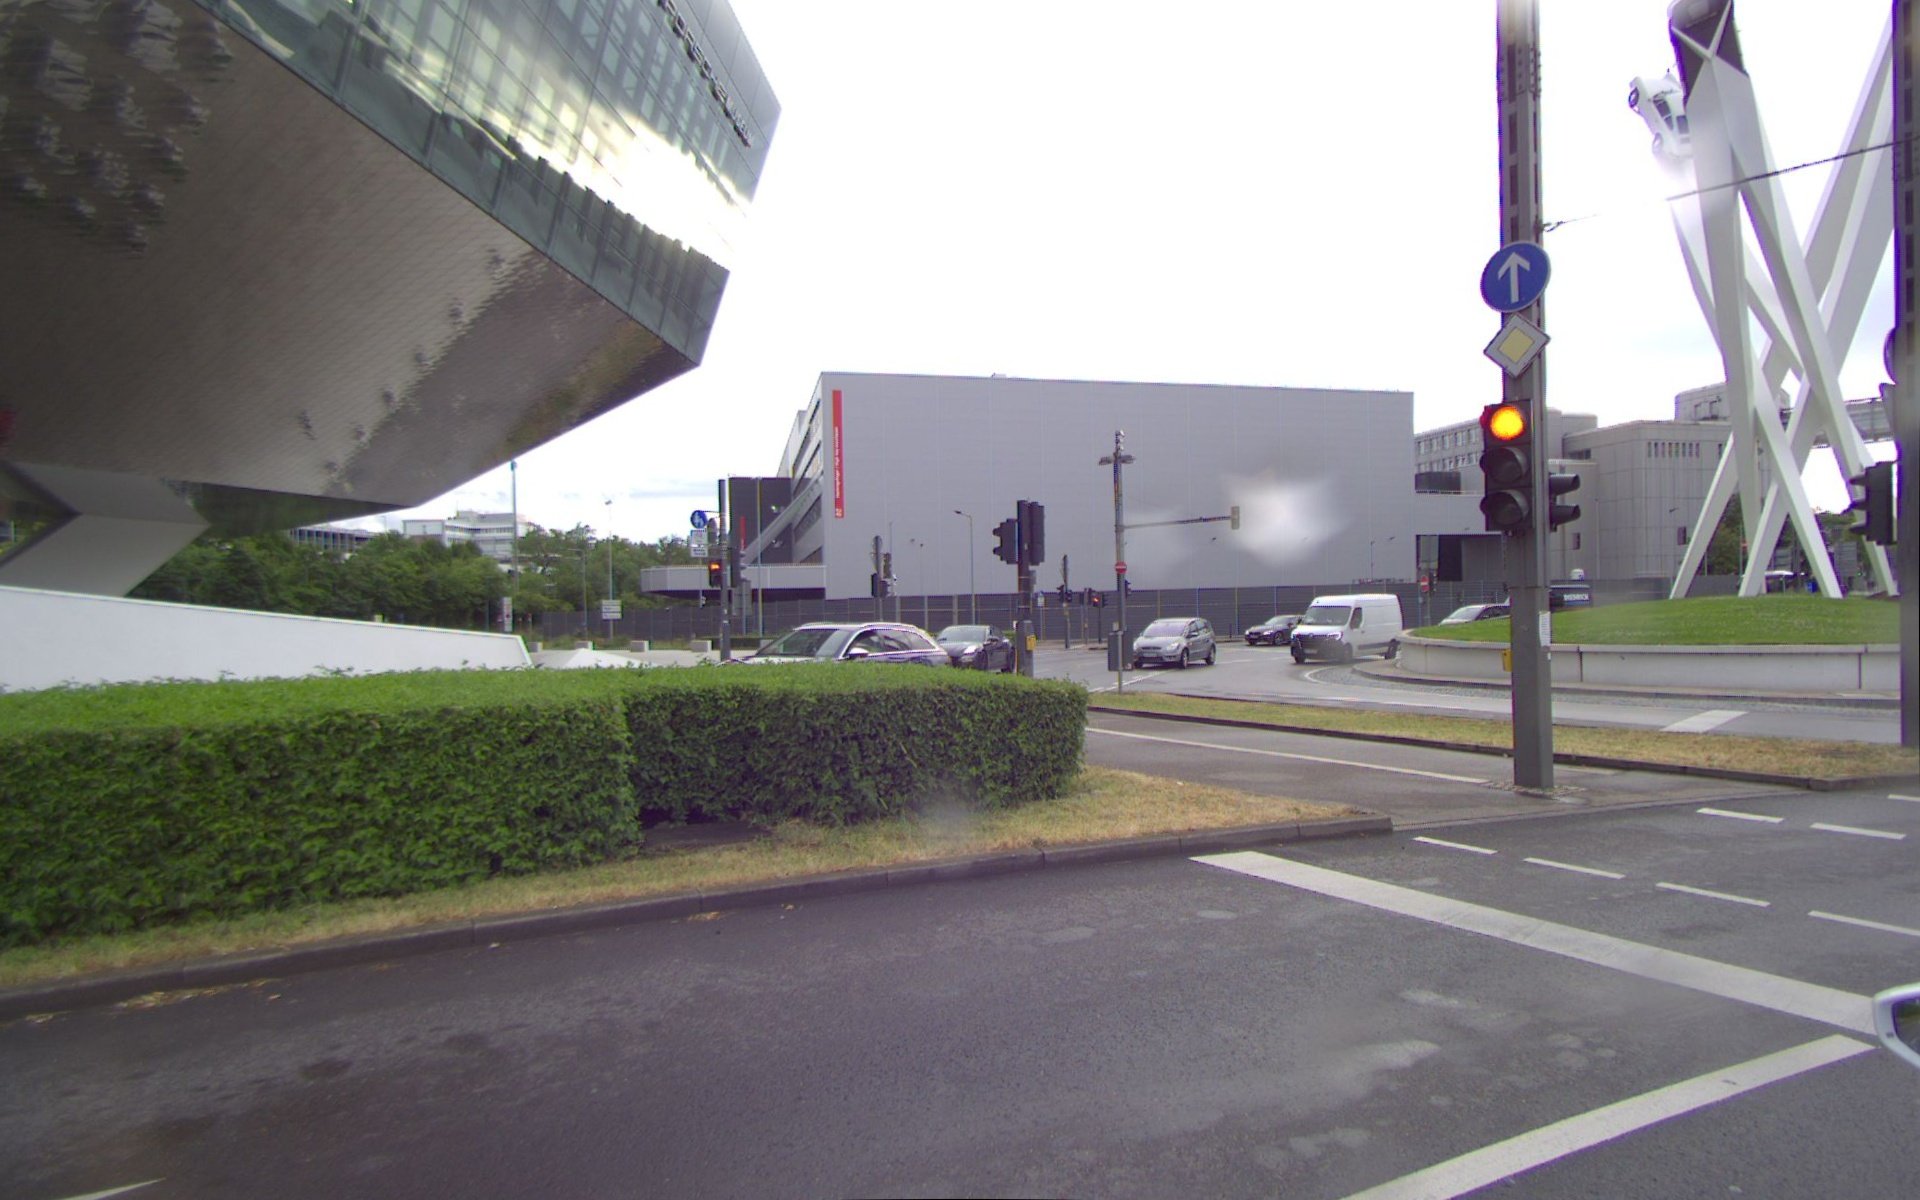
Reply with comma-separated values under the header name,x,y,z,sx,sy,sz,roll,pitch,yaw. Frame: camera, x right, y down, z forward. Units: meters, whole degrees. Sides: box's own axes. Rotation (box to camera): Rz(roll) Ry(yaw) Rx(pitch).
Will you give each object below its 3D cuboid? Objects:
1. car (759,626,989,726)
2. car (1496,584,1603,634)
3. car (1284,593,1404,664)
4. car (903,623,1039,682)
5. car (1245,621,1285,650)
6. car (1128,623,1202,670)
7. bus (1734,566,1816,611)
name,x,y,z,sx,sy,sz,roll,pitch,yaw
car,-1.239,1.114,16.237,1.818,1.356,3.994,0,-1,28
car,34.804,0.549,59.242,7.035,2.858,1.960,1,-1,-27
car,14.447,1.025,37.599,5.385,2.479,1.976,1,-1,-42
car,0.414,1.423,28.531,1.807,1.491,4.503,0,-1,31
car,15.303,1.727,50.335,1.803,1.356,4.248,0,-1,18
car,7.121,1.549,34.633,1.804,1.514,3.999,0,-1,22
bus,63.538,-0.780,78.170,12.565,3.243,2.646,1,-1,-40
